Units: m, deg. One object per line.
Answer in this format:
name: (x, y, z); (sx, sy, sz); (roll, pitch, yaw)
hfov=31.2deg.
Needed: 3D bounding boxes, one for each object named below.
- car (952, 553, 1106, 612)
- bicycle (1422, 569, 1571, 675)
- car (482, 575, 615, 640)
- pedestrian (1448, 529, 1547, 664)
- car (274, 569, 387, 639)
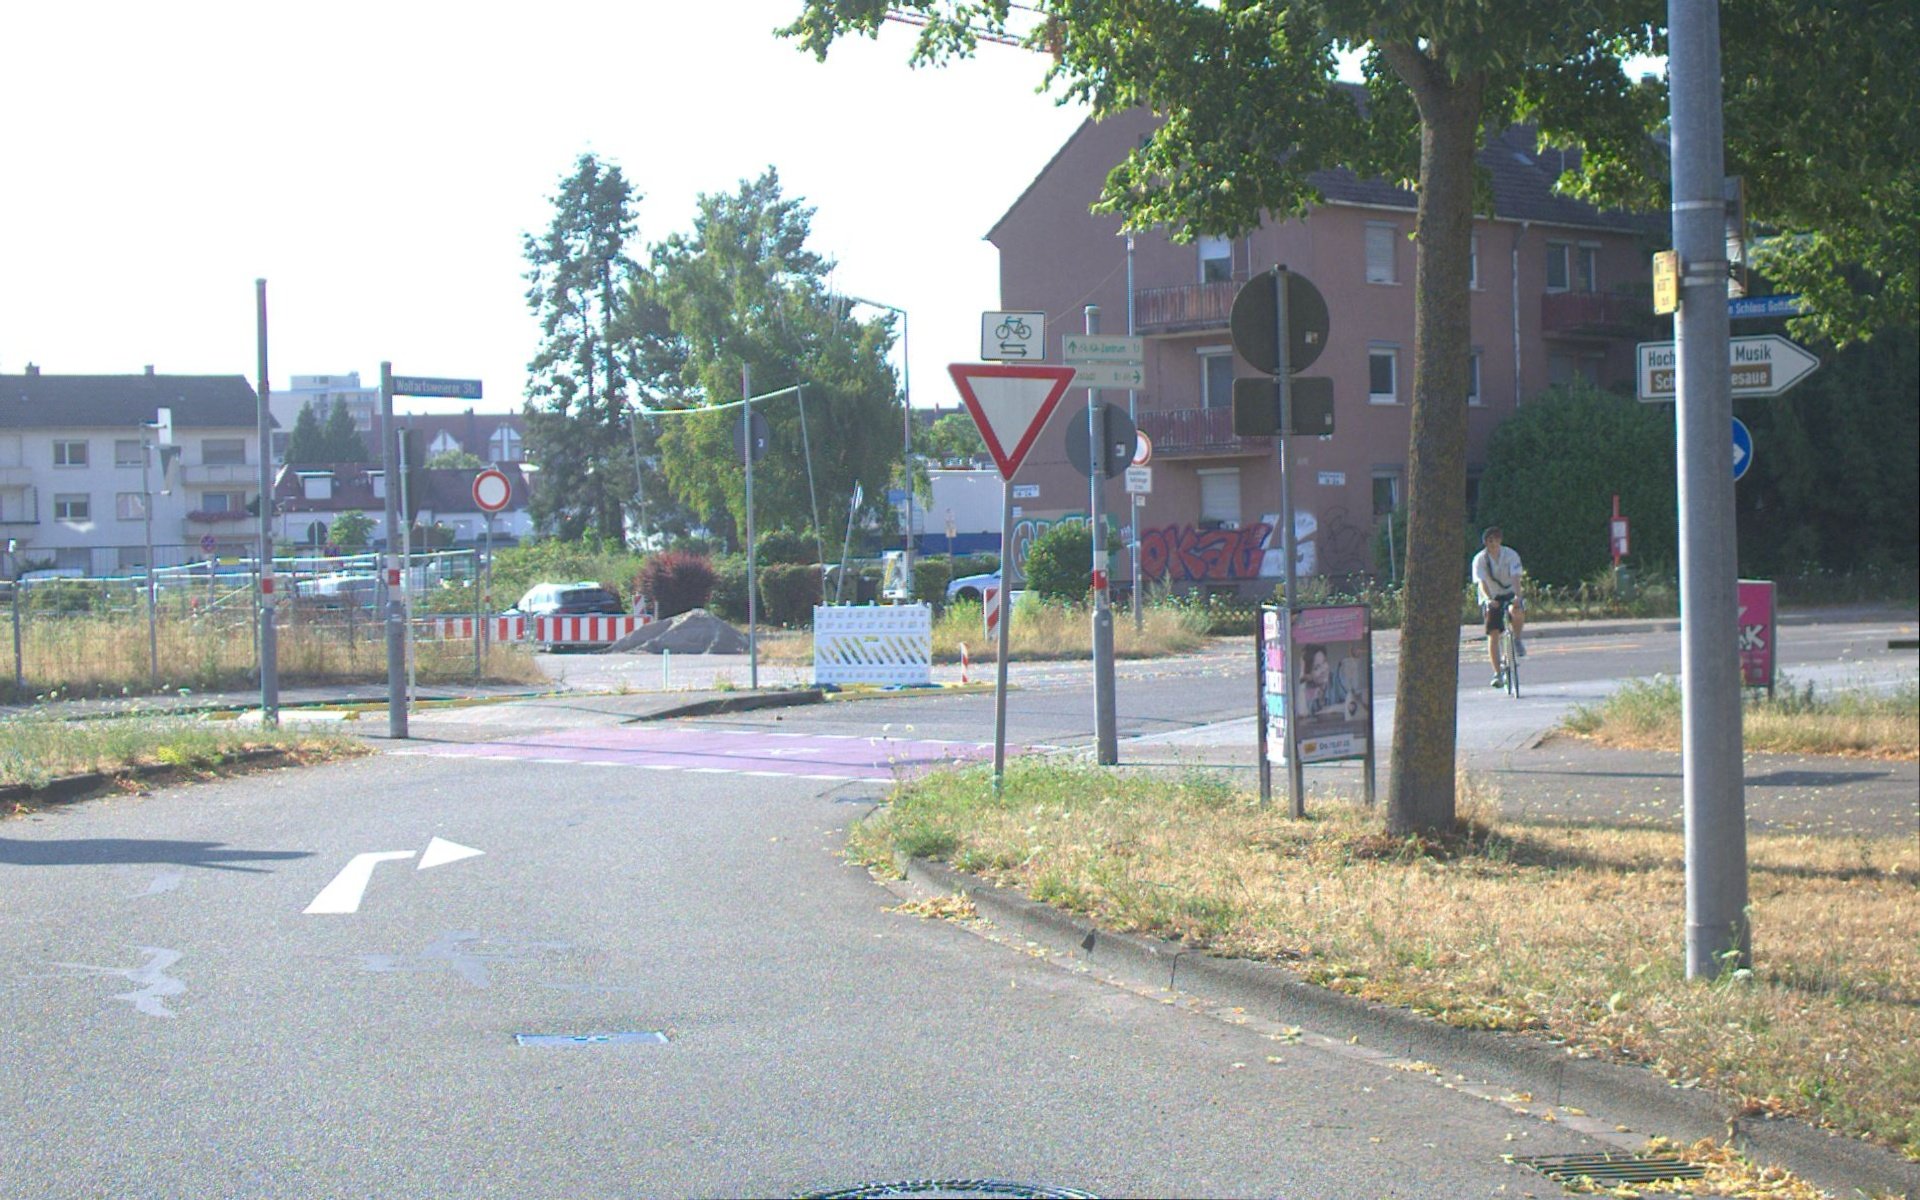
car: (1.947, -0.497, 96.538); (3.989, 1.525, 1.999); (-1, 1, 11)
bicycle: (5.732, 0.221, 36.666); (0.534, 1.052, 1.908); (0, 2, 45)
car: (-10.373, 0.191, 86.504); (1.993, 1.546, 4.000); (-2, 1, -28)
pedestrian: (5.736, -0.038, 36.710); (0.765, 1.387, 0.652); (-3, 0, -45)
car: (-18.346, 0.122, 100.134); (1.862, 1.941, 4.000); (-2, 1, -32)
